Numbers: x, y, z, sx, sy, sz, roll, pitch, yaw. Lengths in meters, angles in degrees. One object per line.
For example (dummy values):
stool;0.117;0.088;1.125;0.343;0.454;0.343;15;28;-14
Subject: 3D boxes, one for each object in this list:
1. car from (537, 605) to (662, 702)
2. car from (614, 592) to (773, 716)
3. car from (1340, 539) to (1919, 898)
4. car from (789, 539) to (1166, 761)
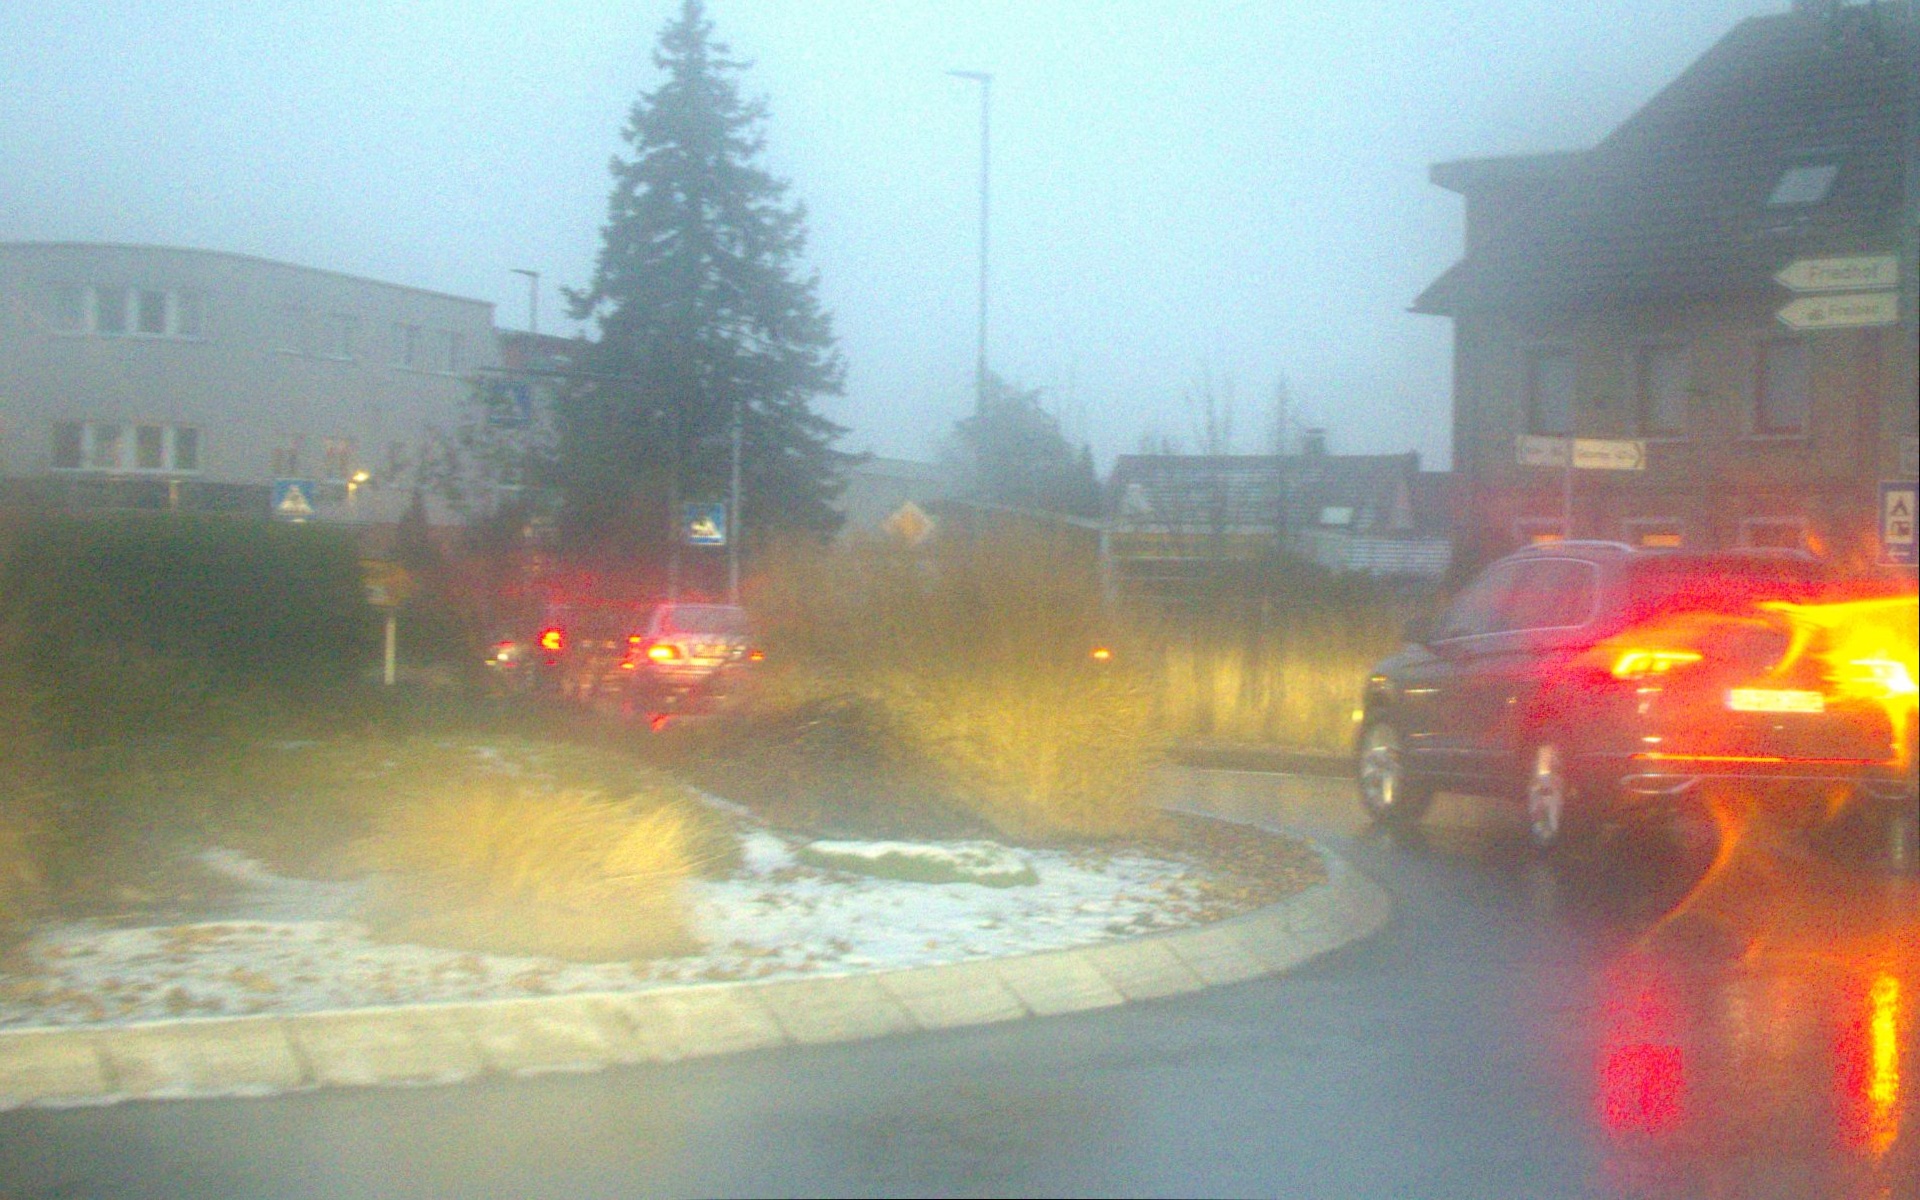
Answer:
car;-6.007;0.897;56.921;1.882;1.543;4.572;0;-1;-8
car;-3.703;0.750;47.104;1.882;1.609;4.572;0;-1;-8
car;3.525;0.559;18.645;1.944;1.712;4.001;1;0;-8
car;0.040;0.356;29.559;2.163;1.683;4.573;0;2;-14
